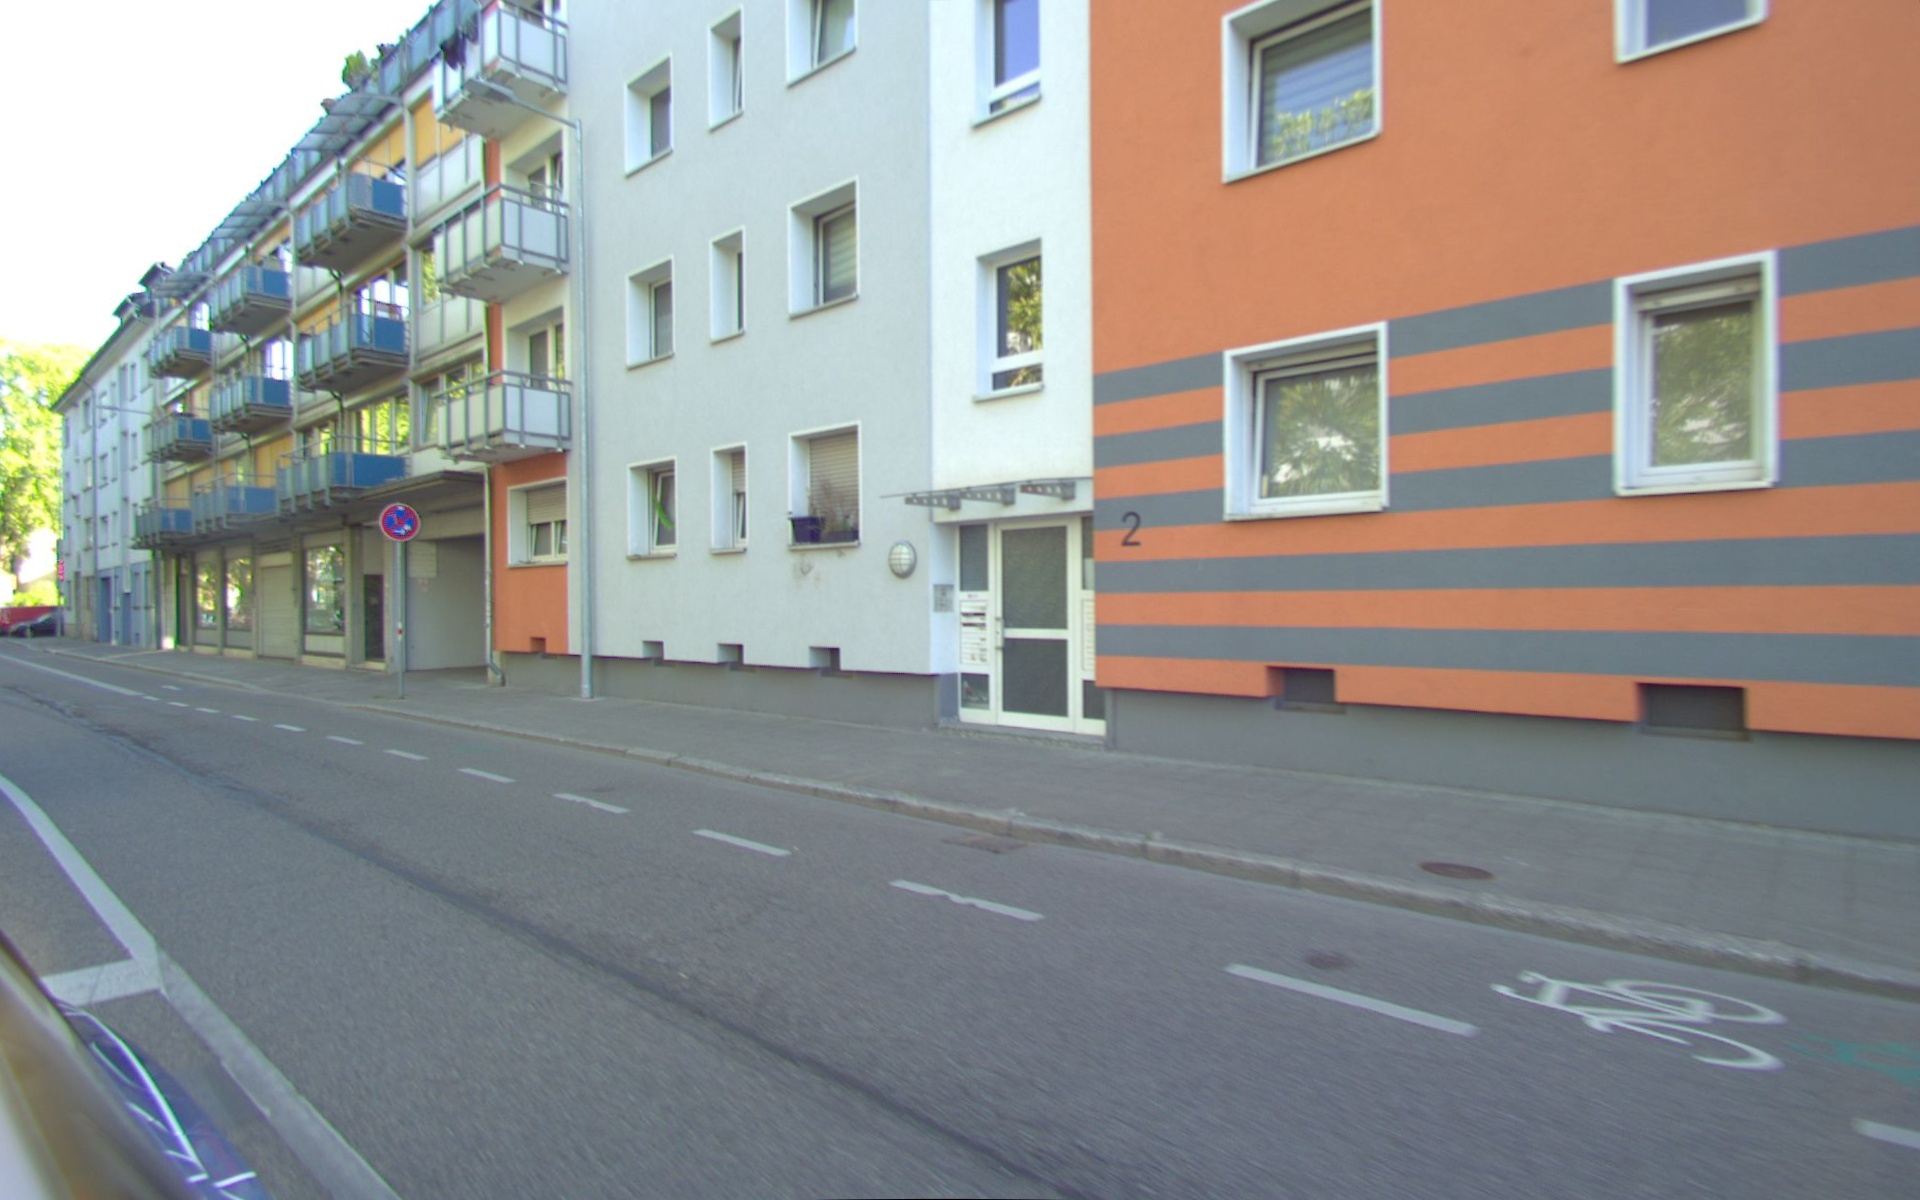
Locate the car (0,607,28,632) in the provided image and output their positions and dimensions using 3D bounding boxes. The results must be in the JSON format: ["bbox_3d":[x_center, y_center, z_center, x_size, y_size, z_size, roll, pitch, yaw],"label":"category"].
[{"bbox_3d":[-79.478,1.593,83.191,1.998,2.029,3.947,0,0,40],"label":"car"}]

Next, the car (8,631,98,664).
[{"bbox_3d":[-56.487,2.913,63.088,1.829,1.849,3.947,0,0,40],"label":"car"}]

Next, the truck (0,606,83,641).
[{"bbox_3d":[-60.615,1.524,66.415,1.876,2.174,4.348,0,0,40],"label":"truck"}]
